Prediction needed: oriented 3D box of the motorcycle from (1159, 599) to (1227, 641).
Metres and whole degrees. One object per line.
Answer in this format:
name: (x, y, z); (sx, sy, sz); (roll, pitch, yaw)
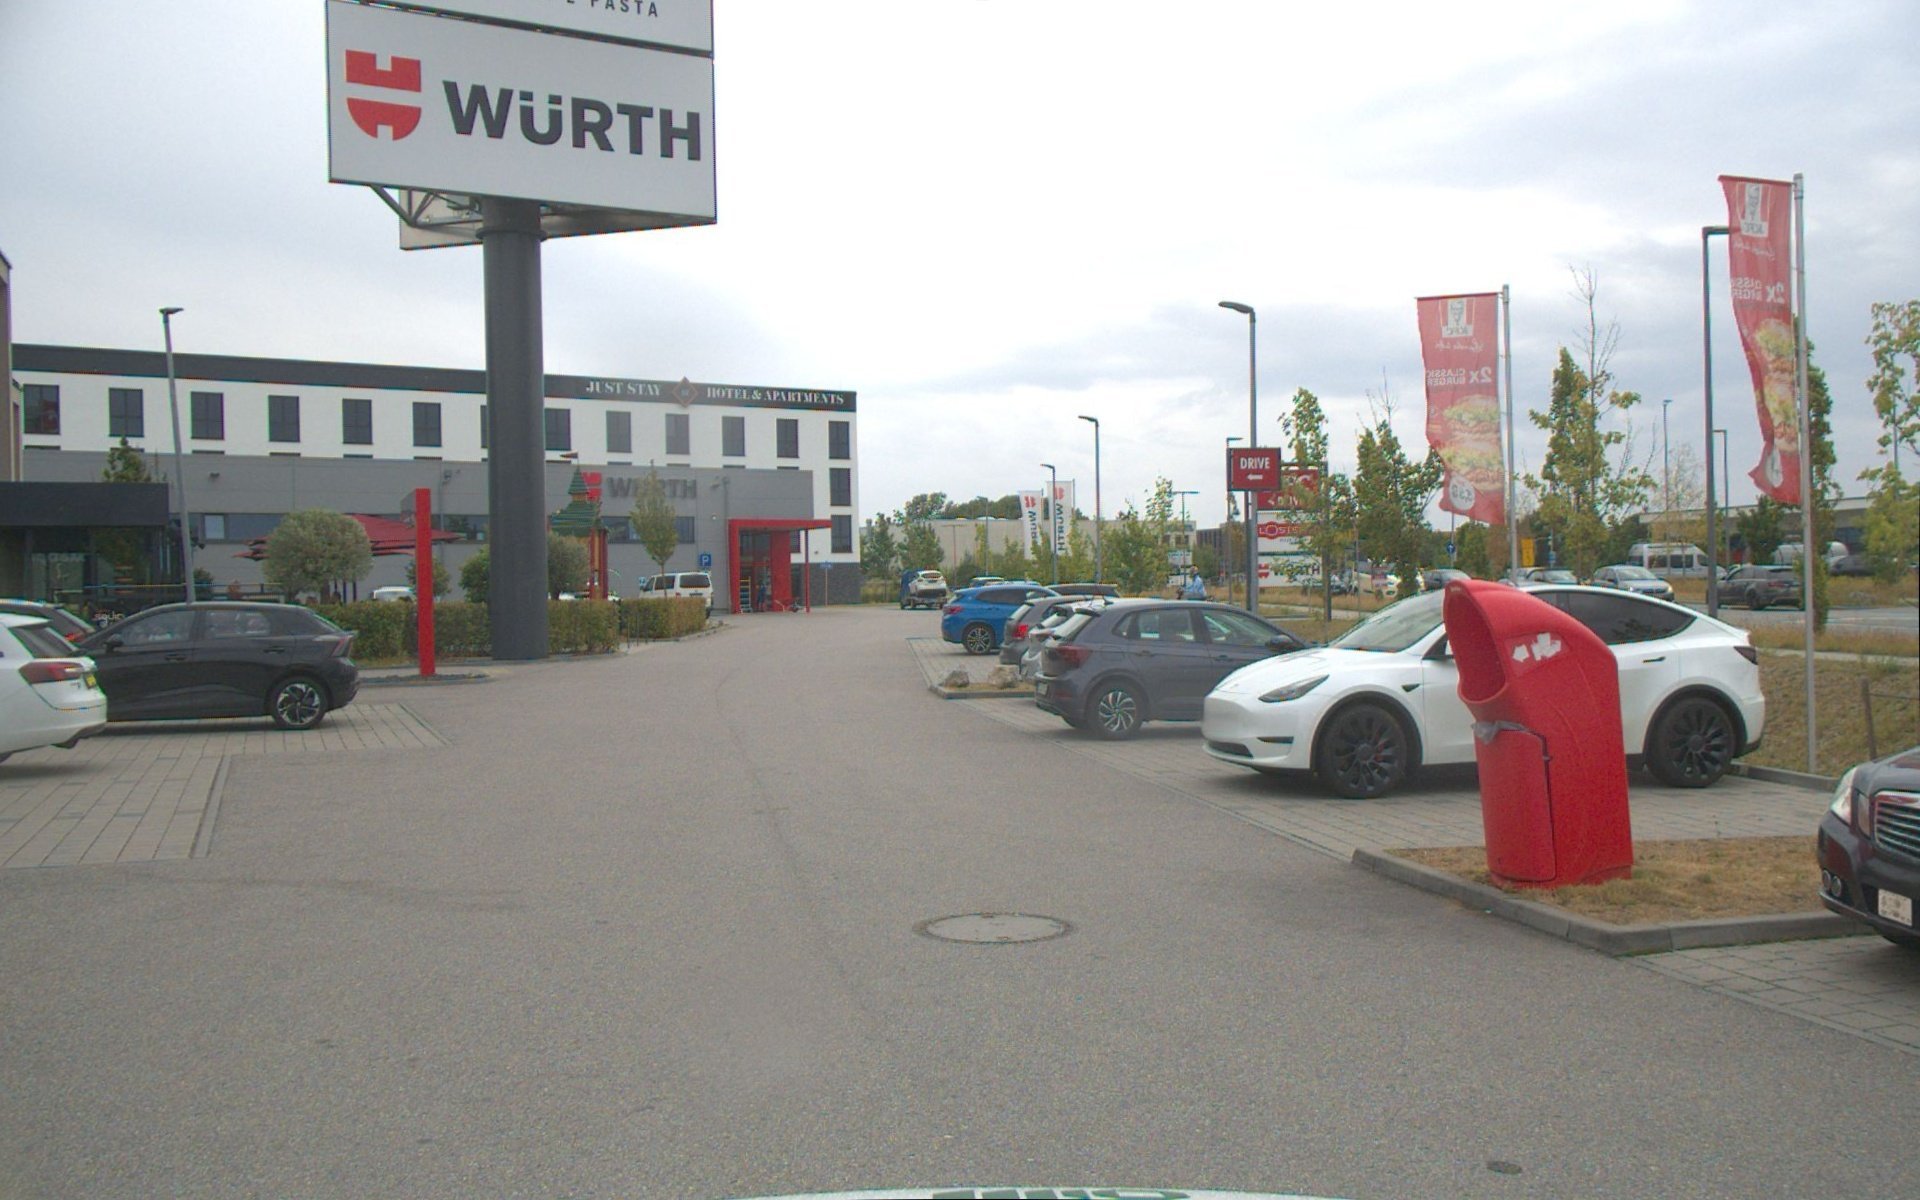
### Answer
motorcycle: (7.118, 0.599, 50.492); (1.882, 1.229, 0.792); (-2, 0, -13)

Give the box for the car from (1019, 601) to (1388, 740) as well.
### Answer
car: (2.661, 0.759, 18.466); (3.727, 1.437, 1.734); (1, 0, -10)

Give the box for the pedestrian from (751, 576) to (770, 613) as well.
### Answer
pedestrian: (-9.954, -0.289, 82.533); (0.668, 1.834, 0.873); (-1, 0, -25)

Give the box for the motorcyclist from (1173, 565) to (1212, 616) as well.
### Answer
motorcyclist: (7.104, -0.295, 50.487); (0.922, 1.515, 0.828); (-1, 0, -13)

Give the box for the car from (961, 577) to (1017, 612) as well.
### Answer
car: (1.398, -0.238, 81.338); (1.825, 1.679, 3.985); (0, 0, -14)

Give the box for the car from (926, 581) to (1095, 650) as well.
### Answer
car: (1.206, 0.361, 40.221); (3.978, 1.485, 1.776); (-2, 1, 0)

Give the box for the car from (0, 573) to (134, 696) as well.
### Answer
car: (-13.921, 0.534, 23.143); (3.958, 1.623, 1.713); (-3, 1, -37)

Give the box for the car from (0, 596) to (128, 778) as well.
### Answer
car: (-9.751, 0.778, 14.576); (4.108, 1.512, 1.987); (-1, 1, -22)

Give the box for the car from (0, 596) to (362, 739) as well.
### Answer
car: (-9.318, 0.747, 19.743); (4.053, 1.555, 1.729); (0, 0, -23)

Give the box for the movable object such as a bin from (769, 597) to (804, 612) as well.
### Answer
movable object such as a bin: (-8.546, 0.237, 81.553); (1.470, 0.716, 0.957); (0, 0, -26)

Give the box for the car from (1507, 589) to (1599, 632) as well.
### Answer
car: (22.791, 0.371, 63.751); (1.814, 1.525, 4.282); (-1, 1, -3)

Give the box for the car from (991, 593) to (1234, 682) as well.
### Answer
car: (2.549, 0.618, 28.213); (3.908, 1.453, 1.726); (0, 0, -4)

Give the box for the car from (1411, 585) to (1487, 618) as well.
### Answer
car: (21.886, 0.035, 74.201); (1.729, 1.419, 4.213); (-1, 1, -7)

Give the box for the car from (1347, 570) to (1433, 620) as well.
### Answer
car: (19.141, -0.271, 73.884); (1.955, 2.122, 5.223); (-2, 1, -6)

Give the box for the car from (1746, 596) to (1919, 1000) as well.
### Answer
car: (5.803, 0.699, 6.763); (4.653, 1.482, 1.902); (-1, 0, -18)

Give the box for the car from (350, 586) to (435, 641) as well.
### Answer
car: (-19.051, 0.457, 55.413); (1.971, 1.679, 4.536); (-3, 1, -28)

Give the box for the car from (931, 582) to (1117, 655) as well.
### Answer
car: (1.419, 0.397, 37.942); (4.117, 1.571, 1.864); (-1, 1, -2)

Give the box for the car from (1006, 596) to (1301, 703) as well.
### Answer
car: (2.688, 0.685, 23.521); (3.852, 1.437, 1.837); (1, 0, -7)

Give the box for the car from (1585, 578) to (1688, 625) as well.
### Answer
car: (23.147, 0.023, 56.737); (1.787, 1.485, 3.999); (-3, 1, -1)

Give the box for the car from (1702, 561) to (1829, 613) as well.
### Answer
car: (26.608, -0.449, 54.819); (1.760, 1.579, 4.854); (-3, 1, 0)

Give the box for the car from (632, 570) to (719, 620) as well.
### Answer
car: (-12.449, -0.187, 72.276); (2.041, 1.886, 4.009); (-7, 3, -36)

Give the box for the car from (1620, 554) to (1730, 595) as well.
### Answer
car: (42.342, -1.527, 98.009); (5.467, 2.158, 2.339); (-3, 1, -2)

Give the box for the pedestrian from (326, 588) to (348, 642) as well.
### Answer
pedestrian: (-14.460, 0.350, 38.403); (0.413, 1.220, 0.454); (-3, 0, -18)

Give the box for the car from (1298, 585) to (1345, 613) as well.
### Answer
car: (18.196, -0.051, 83.357); (1.433, 1.360, 3.159); (-1, 1, -6)

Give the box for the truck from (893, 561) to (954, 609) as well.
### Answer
truck: (-2.206, -0.826, 97.380); (2.290, 2.449, 7.874); (0, -2, -11)

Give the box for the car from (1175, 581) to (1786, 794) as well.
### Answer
car: (4.201, 0.657, 13.617); (4.452, 1.568, 1.920); (1, 0, -13)
